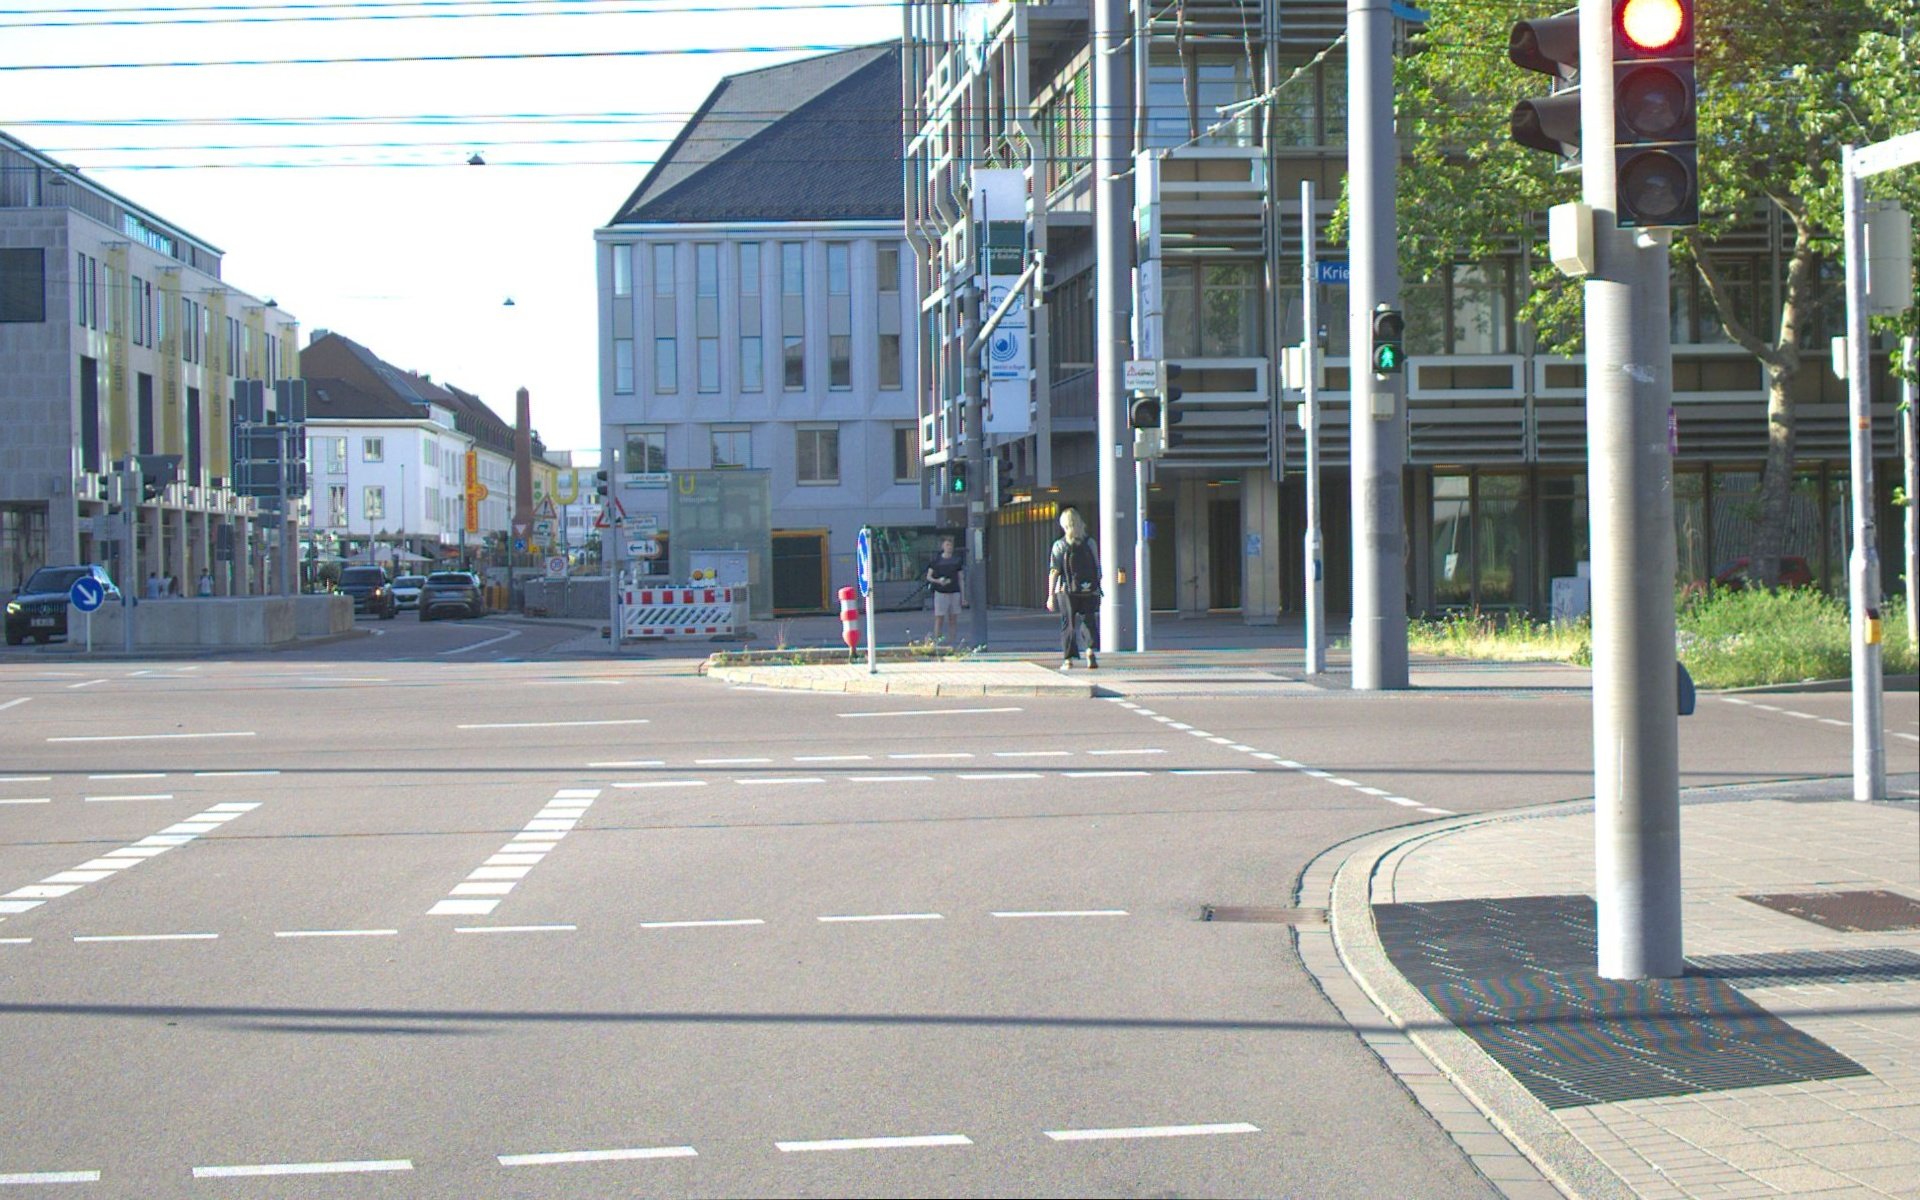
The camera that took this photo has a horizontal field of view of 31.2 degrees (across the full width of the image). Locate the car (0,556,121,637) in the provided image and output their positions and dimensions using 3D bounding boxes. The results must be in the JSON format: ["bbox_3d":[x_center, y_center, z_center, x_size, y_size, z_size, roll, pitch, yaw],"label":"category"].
[{"bbox_3d":[-19.421,-0.097,74.098,1.937,1.672,4.295,-1,1,-5],"label":"car"}]

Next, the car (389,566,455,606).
[{"bbox_3d":[-23.467,-0.596,150.043,2.174,1.686,5.616,-1,0,-2],"label":"car"}]

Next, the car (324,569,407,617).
[{"bbox_3d":[-21.730,-0.256,125.792,2.174,1.686,5.487,-1,0,-1],"label":"car"}]

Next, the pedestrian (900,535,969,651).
[{"bbox_3d":[-0.421,-0.123,57.250,1.012,1.904,1.050,0,1,7],"label":"pedestrian"}]

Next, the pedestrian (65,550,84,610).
[{"bbox_3d":[-29.984,-0.671,116.393,0.616,2.007,0.478,1,0,-15],"label":"pedestrian"}]

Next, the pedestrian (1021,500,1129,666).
[{"bbox_3d":[1.096,-0.172,32.954,0.895,1.544,0.924,-1,2,-7],"label":"pedestrian"}]

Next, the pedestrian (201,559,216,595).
[{"bbox_3d":[-28.430,-0.866,130.004,0.488,1.352,0.564,1,0,-6],"label":"pedestrian"}]

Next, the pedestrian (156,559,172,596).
[{"bbox_3d":[-29.338,-0.846,126.666,0.488,1.352,0.564,1,0,-6],"label":"pedestrian"}]

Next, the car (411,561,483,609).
[{"bbox_3d":[-16.150,-0.468,108.363,1.936,1.445,4.263,-1,0,-4],"label":"car"}]

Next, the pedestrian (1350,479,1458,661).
[{"bbox_3d":[4.303,-0.298,33.336,0.855,1.738,0.739,-1,1,-8],"label":"pedestrian"}]
